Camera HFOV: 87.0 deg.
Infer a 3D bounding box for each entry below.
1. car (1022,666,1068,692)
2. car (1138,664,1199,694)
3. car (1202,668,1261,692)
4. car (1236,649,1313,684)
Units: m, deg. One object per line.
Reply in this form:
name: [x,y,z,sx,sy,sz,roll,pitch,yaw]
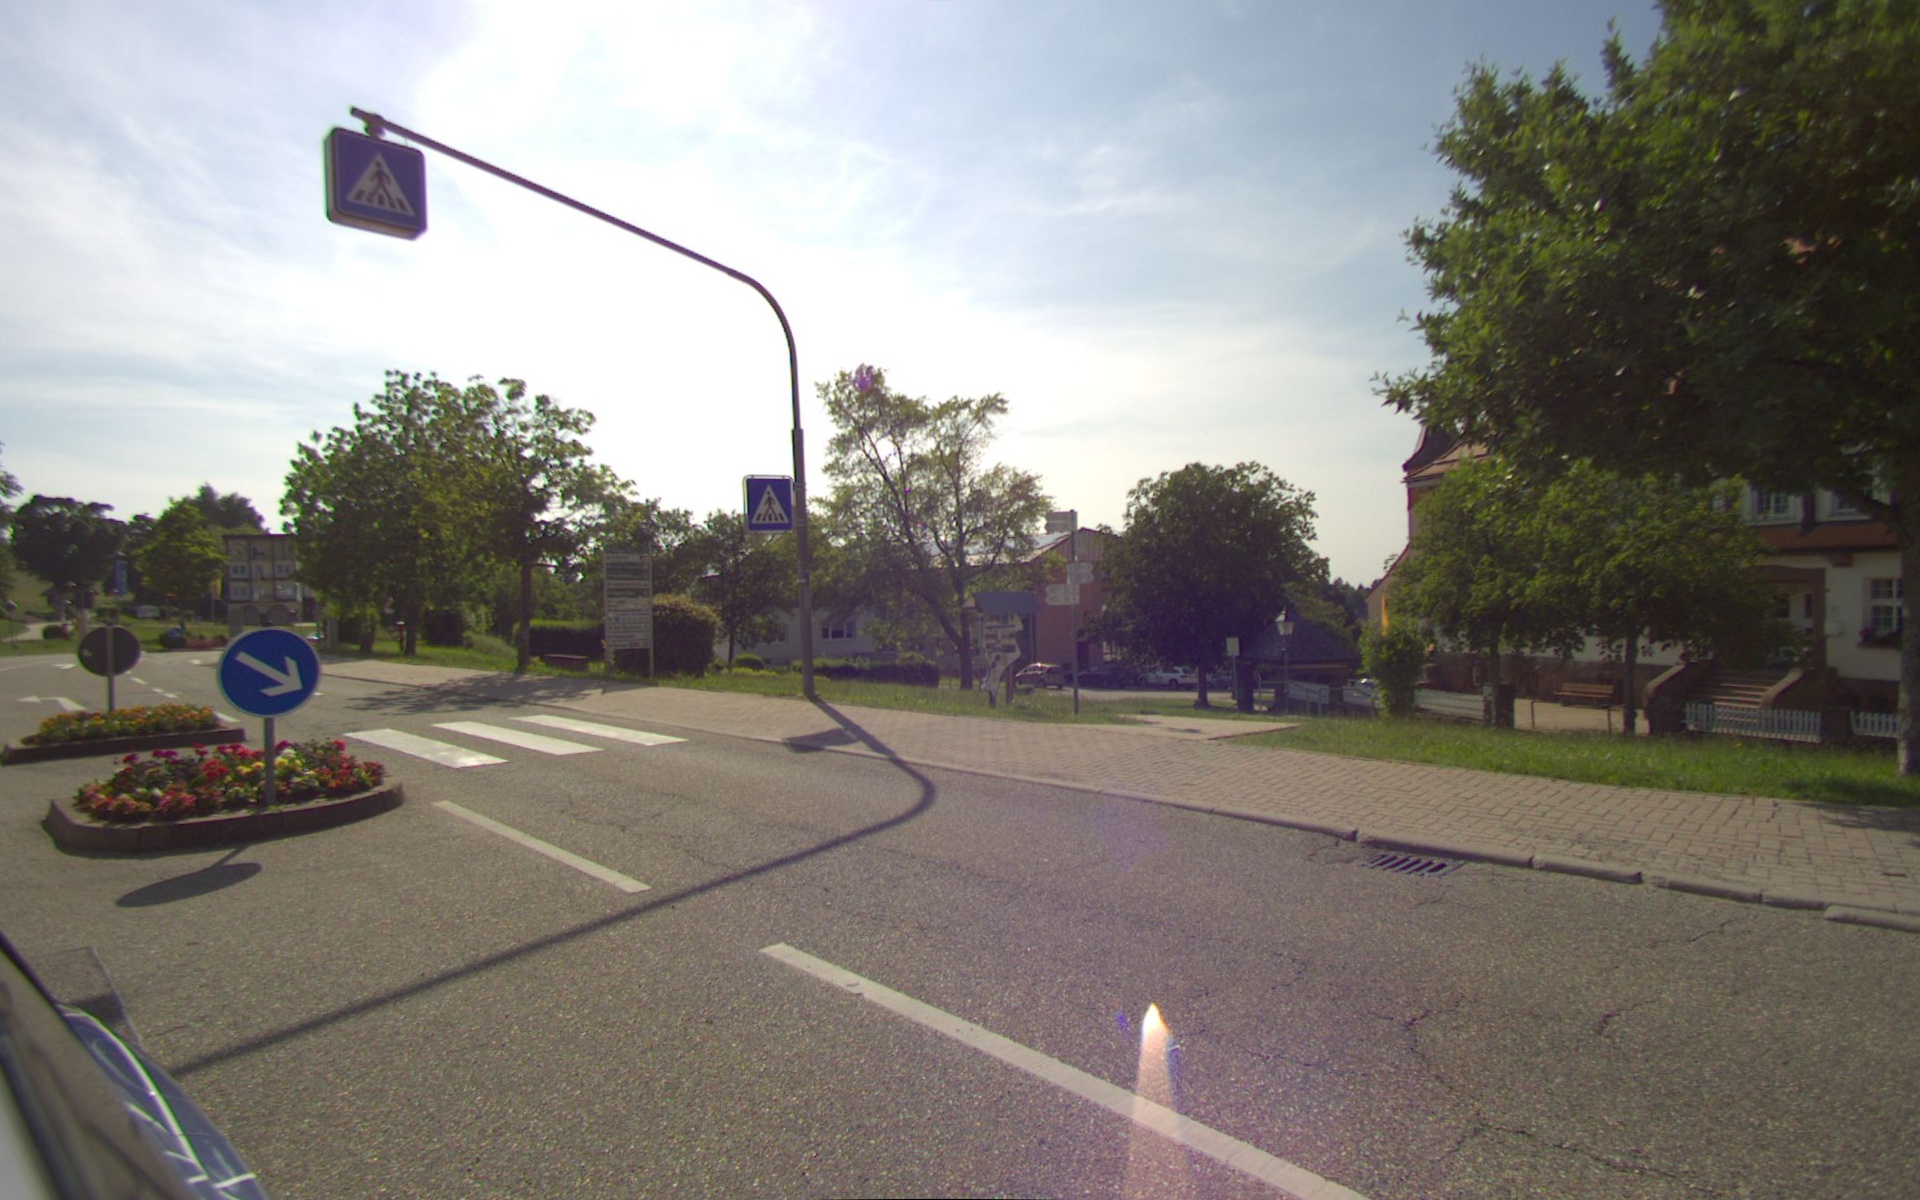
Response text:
car: [5.742,5.342,68.420,1.542,1.652,2.978,1,-3,-35]
car: [15.017,5.661,72.877,1.967,2.029,4.009,3,-3,-36]
car: [20.876,6.096,77.838,1.967,1.676,4.009,3,-3,-36]
car: [14.439,3.026,46.624,1.551,1.478,3.513,1,-2,-19]
